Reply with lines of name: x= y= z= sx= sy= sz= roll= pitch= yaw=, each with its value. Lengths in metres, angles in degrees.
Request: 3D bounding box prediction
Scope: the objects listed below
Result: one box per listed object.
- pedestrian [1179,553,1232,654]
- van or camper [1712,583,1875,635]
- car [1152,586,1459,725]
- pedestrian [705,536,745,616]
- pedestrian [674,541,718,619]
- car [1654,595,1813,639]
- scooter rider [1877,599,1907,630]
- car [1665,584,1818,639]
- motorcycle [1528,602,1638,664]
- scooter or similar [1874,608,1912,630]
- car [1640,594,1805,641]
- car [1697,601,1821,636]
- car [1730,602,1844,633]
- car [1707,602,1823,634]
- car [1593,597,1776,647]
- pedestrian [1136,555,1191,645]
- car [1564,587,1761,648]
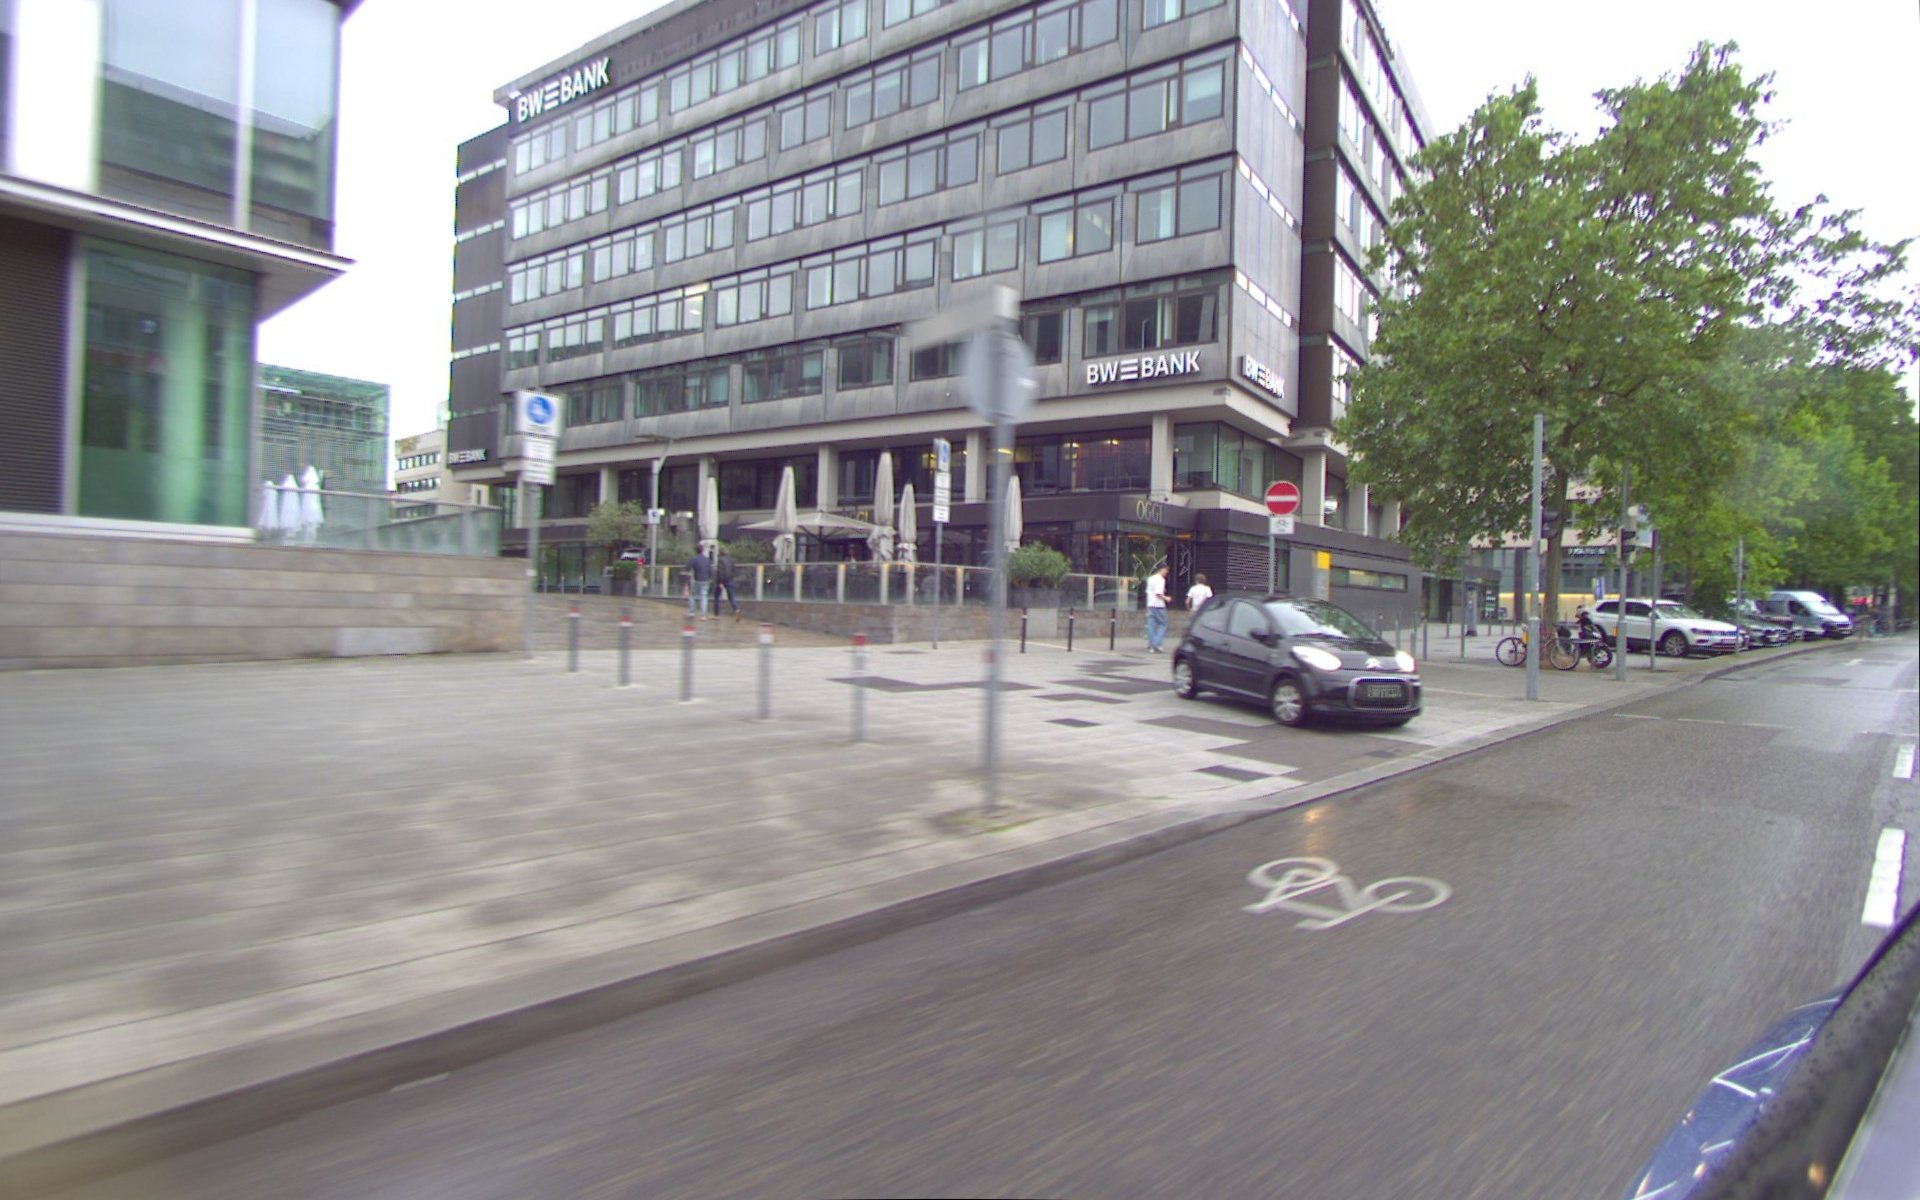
pedestrian: x=5.175 y=0.079 z=21.324 sx=0.848 sy=2.065 sz=0.743 roll=0 pitch=-1 yaw=38
van or camper: x=42.403 y=0.445 z=51.765 sx=2.266 sy=2.478 sz=6.278 roll=1 pitch=0 yaw=-14
car: x=4.031 y=0.564 z=12.513 sx=1.601 sy=1.435 sz=3.842 roll=0 pitch=0 yaw=-18
pedestrian: x=-5.530 y=-0.559 z=23.814 sx=0.670 sy=1.846 sz=0.649 roll=1 pitch=-1 yaw=-45
pedestrian: x=-6.102 y=-0.452 z=23.379 sx=0.767 sy=1.747 sz=0.644 roll=1 pitch=-1 yaw=-39
car: x=28.624 y=0.599 z=37.648 sx=1.876 sy=1.557 sz=4.400 roll=1 pitch=0 yaw=-18
scooter rider: x=59.349 y=0.921 z=64.444 sx=1.001 sy=1.927 sz=0.984 roll=1 pitch=0 yaw=-18
car: x=30.532 y=0.445 z=39.717 sx=1.881 sy=2.018 sz=4.527 roll=1 pitch=0 yaw=-15
motorcycle: x=14.475 y=0.744 z=23.555 sx=0.664 sy=1.375 sz=2.089 roll=1 pitch=-1 yaw=-37
scooter or similar: x=59.425 y=1.204 z=64.467 sx=1.831 sy=1.372 sz=0.984 roll=1 pitch=0 yaw=-18
car: x=26.756 y=0.595 z=35.708 sx=1.876 sy=1.557 sz=4.366 roll=1 pitch=0 yaw=-18
car: x=34.684 y=0.785 z=44.041 sx=1.672 sy=1.442 sz=4.021 roll=1 pitch=0 yaw=-15
car: x=39.955 y=0.837 z=49.024 sx=1.672 sy=1.442 sz=4.070 roll=1 pitch=0 yaw=-15
car: x=37.870 y=0.809 z=47.726 sx=1.672 sy=1.442 sz=4.070 roll=1 pitch=0 yaw=-15
car: x=23.164 y=0.660 z=32.614 sx=1.876 sy=1.493 sz=4.732 roll=1 pitch=0 yaw=-12
pedestrian: x=4.415 y=0.008 z=21.967 sx=0.882 sy=1.892 sz=0.803 roll=1 pitch=-1 yaw=-37
car: x=20.923 y=0.494 z=30.453 sx=1.876 sy=1.671 sz=4.814 roll=1 pitch=0 yaw=-14
